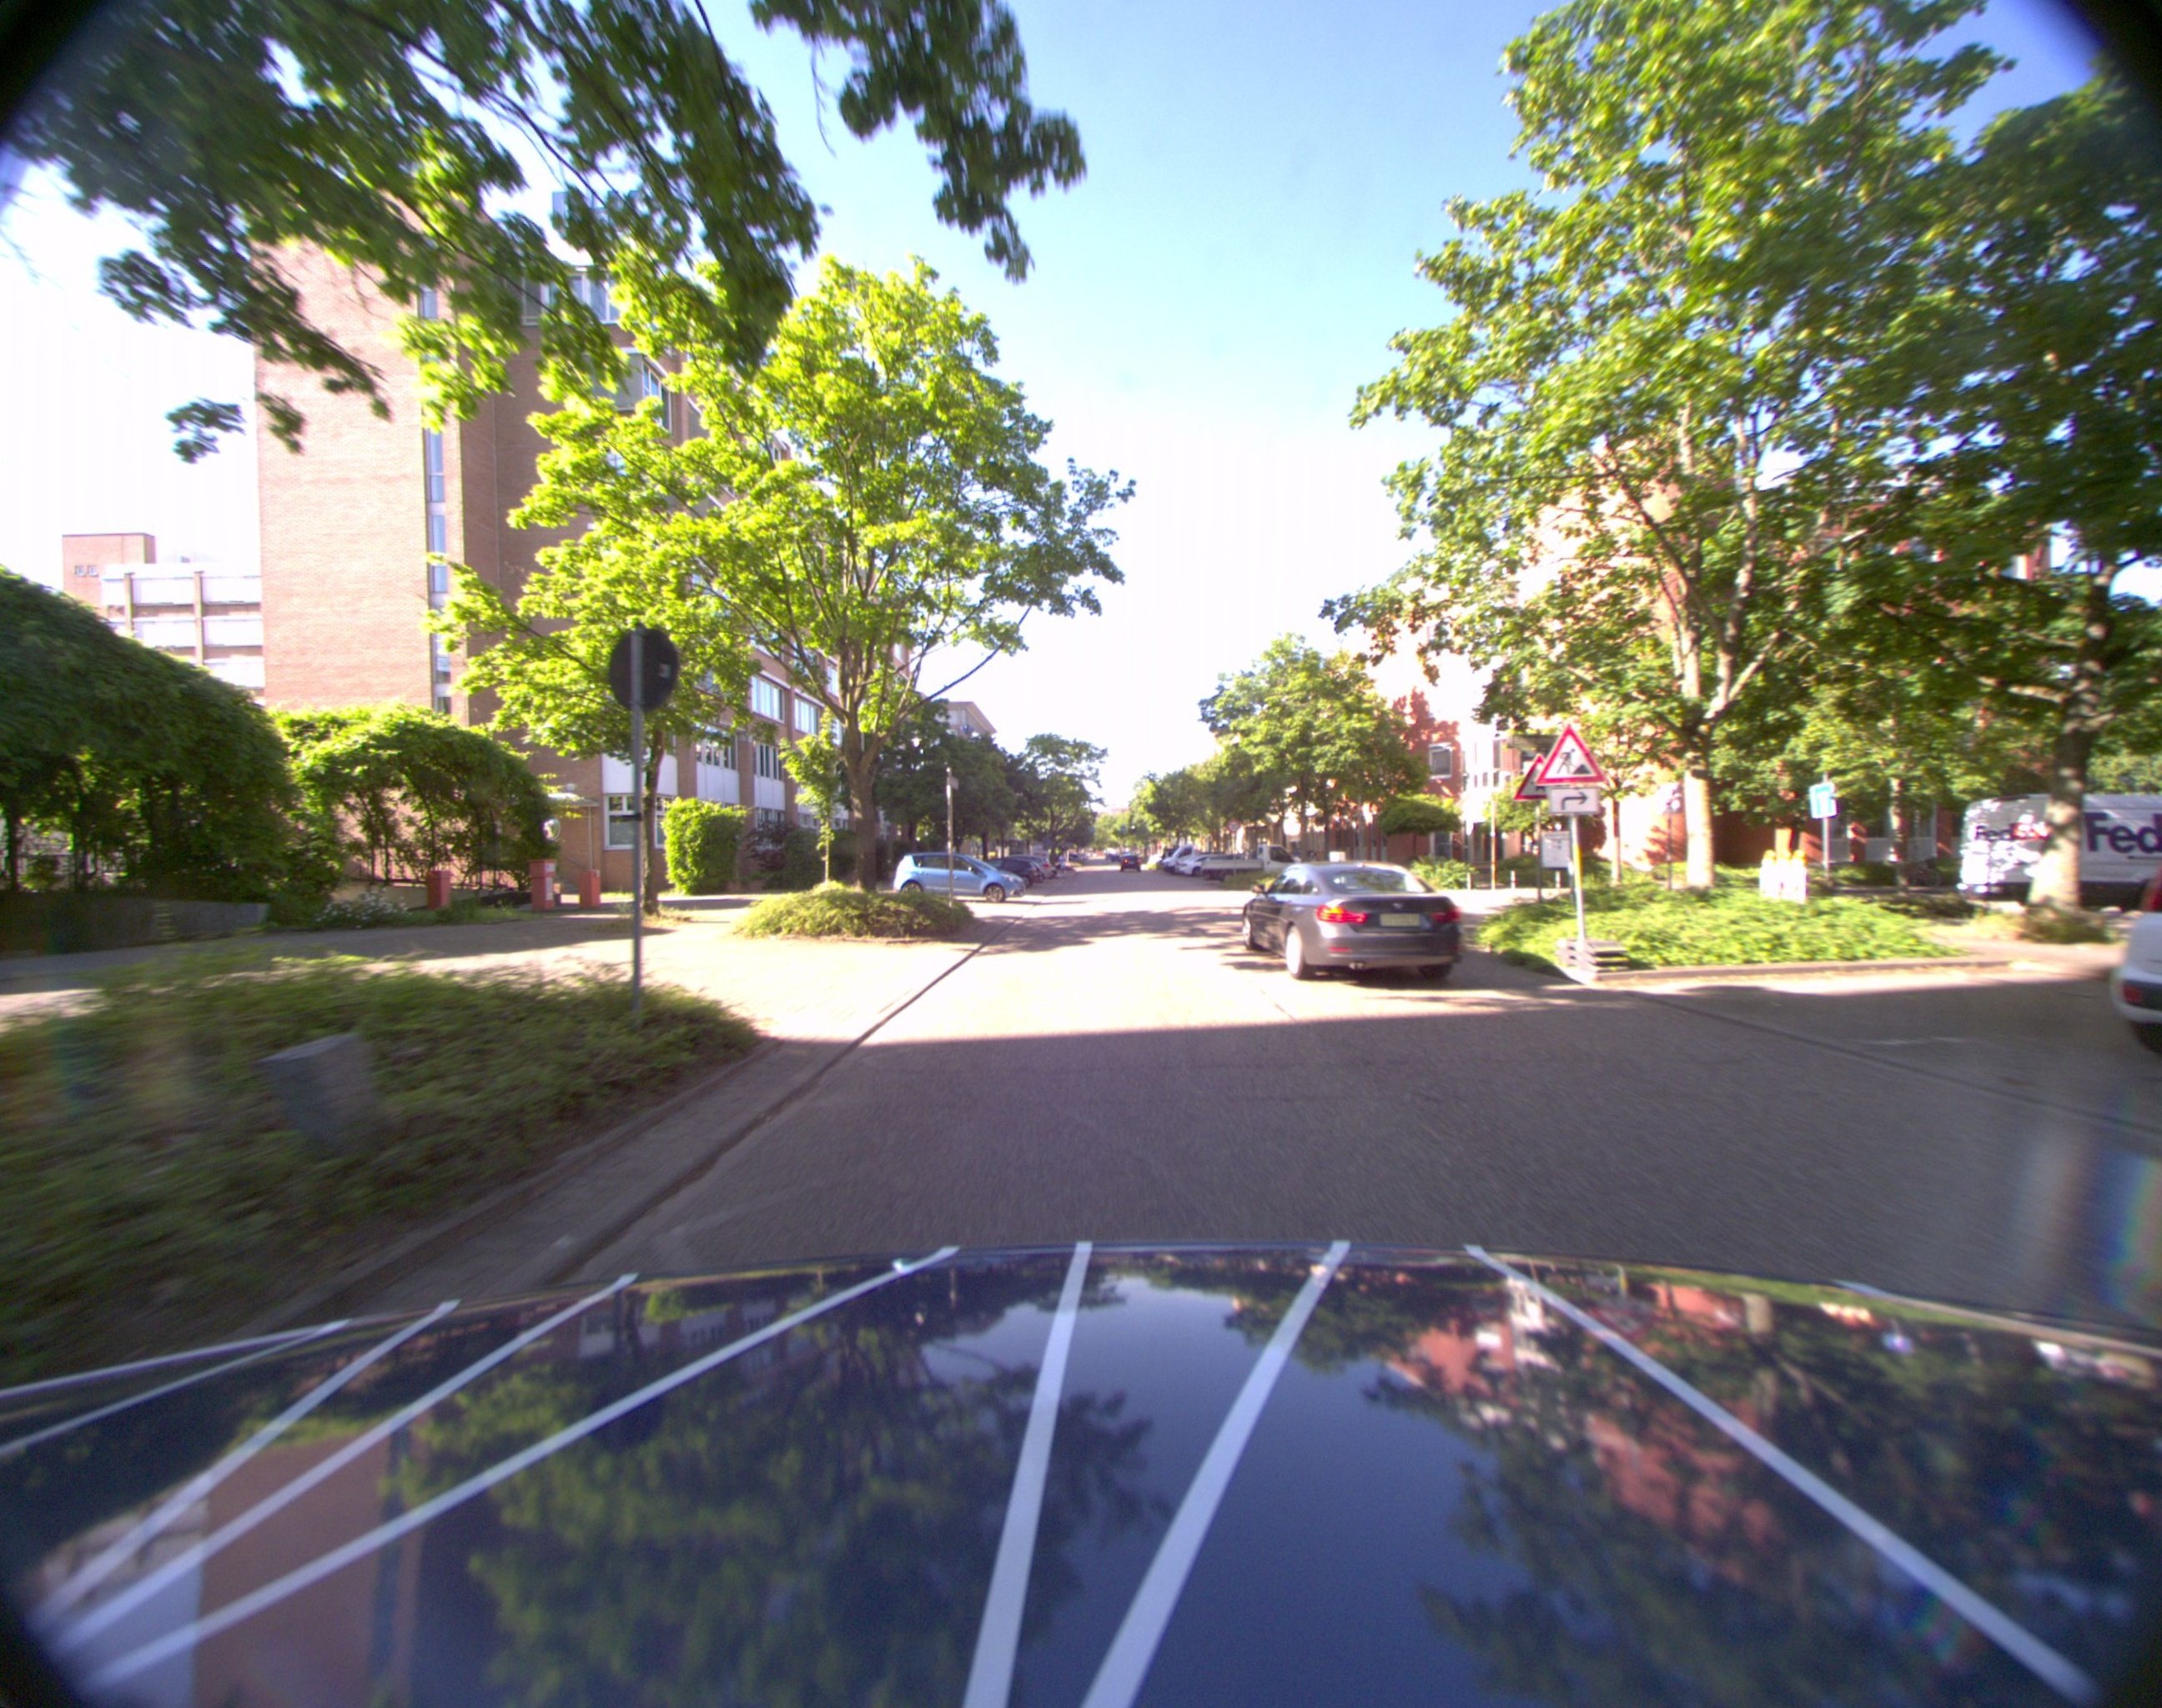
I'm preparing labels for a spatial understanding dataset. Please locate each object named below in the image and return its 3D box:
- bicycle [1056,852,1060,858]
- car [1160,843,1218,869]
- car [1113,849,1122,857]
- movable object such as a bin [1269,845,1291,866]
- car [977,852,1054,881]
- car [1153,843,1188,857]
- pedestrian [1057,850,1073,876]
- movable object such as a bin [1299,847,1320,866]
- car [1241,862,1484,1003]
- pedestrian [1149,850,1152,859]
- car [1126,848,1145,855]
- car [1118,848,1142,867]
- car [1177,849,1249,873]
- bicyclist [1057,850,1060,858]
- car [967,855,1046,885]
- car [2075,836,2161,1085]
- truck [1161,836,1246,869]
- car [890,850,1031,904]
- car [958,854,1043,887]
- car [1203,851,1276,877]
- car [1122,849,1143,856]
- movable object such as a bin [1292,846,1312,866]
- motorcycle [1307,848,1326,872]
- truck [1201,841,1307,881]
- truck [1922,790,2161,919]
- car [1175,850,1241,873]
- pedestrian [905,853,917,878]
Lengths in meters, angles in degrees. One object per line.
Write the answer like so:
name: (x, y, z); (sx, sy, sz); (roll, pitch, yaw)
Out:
bicycle: (-4.358, 0.198, 145.226); (0.535, 1.072, 1.920); (-1, 0, 2)
car: (9.050, 0.154, 63.711); (4.493, 2.040, 2.000); (-2, 1, -1)
car: (6.745, -0.179, 141.443); (1.648, 1.412, 4.000); (-1, 0, 1)
movable object such as a bin: (18.125, 0.136, 69.223); (1.602, 1.786, 1.664); (-1, 0, 3)
car: (-3.776, 0.724, 44.171); (4.365, 1.588, 1.938); (0, 0, -5)
car: (10.240, -0.420, 86.837); (3.763, 1.444, 1.754); (-3, 0, 2)
pedestrian: (-1.084, 0.625, 52.819); (0.921, 1.701, 0.697); (2, 0, -12)
movable object such as a bin: (18.906, 0.197, 62.908); (1.149, 1.554, 1.243); (-1, 0, -11)
car: (3.357, 0.844, 9.971); (1.817, 1.407, 4.108); (0, 0, 2)
pedestrian: (10.971, 0.088, 120.050); (0.432, 1.365, 0.418); (-1, 1, 1)
car: (12.057, -0.471, 168.399); (4.003, 1.411, 1.618); (-2, 1, 0)
car: (4.592, 0.306, 71.163); (1.897, 1.674, 4.352); (0, 0, -1)
car: (9.051, 0.501, 52.420); (4.553, 1.433, 1.890); (-2, 0, 0)
bicyclist: (-4.364, -0.007, 145.198); (0.538, 1.627, 0.822); (-1, 1, 1)
car: (-3.735, 0.805, 38.580); (3.809, 1.400, 1.702); (2, 0, 1)
car: (8.547, 0.662, 4.337); (3.590, 1.541, 1.636); (-1, 3, -1)
truck: (9.371, -0.121, 58.399); (6.247, 2.408, 2.187); (0, 1, 2)
car: (-4.020, 0.756, 25.810); (4.416, 1.609, 1.912); (2, 0, 0)
car: (-3.835, 0.792, 36.747); (3.856, 1.474, 1.825); (2, 0, 1)
car: (9.142, 0.573, 44.059); (3.995, 1.427, 1.790); (-1, 1, 5)
car: (12.973, -0.351, 190.797); (5.317, 1.875, 2.000); (0, 1, 2)
movable object such as a bin: (18.673, 0.155, 64.203); (1.149, 1.610, 1.440); (-1, 0, -11)
motorcycle: (18.231, 0.455, 58.907); (0.716, 1.584, 2.106); (0, 8, 0)
truck: (8.776, 0.350, 38.828); (4.996, 1.948, 2.139); (0, 1, 3)
truck: (23.478, -0.001, 17.168); (6.120, 2.689, 2.577); (0, 0, -1)
car: (9.199, 0.531, 55.267); (4.438, 1.478, 2.000); (-2, 0, 0)
pedestrian: (-10.603, 0.726, 47.477); (0.604, 1.512, 0.594); (0, 0, -1)
